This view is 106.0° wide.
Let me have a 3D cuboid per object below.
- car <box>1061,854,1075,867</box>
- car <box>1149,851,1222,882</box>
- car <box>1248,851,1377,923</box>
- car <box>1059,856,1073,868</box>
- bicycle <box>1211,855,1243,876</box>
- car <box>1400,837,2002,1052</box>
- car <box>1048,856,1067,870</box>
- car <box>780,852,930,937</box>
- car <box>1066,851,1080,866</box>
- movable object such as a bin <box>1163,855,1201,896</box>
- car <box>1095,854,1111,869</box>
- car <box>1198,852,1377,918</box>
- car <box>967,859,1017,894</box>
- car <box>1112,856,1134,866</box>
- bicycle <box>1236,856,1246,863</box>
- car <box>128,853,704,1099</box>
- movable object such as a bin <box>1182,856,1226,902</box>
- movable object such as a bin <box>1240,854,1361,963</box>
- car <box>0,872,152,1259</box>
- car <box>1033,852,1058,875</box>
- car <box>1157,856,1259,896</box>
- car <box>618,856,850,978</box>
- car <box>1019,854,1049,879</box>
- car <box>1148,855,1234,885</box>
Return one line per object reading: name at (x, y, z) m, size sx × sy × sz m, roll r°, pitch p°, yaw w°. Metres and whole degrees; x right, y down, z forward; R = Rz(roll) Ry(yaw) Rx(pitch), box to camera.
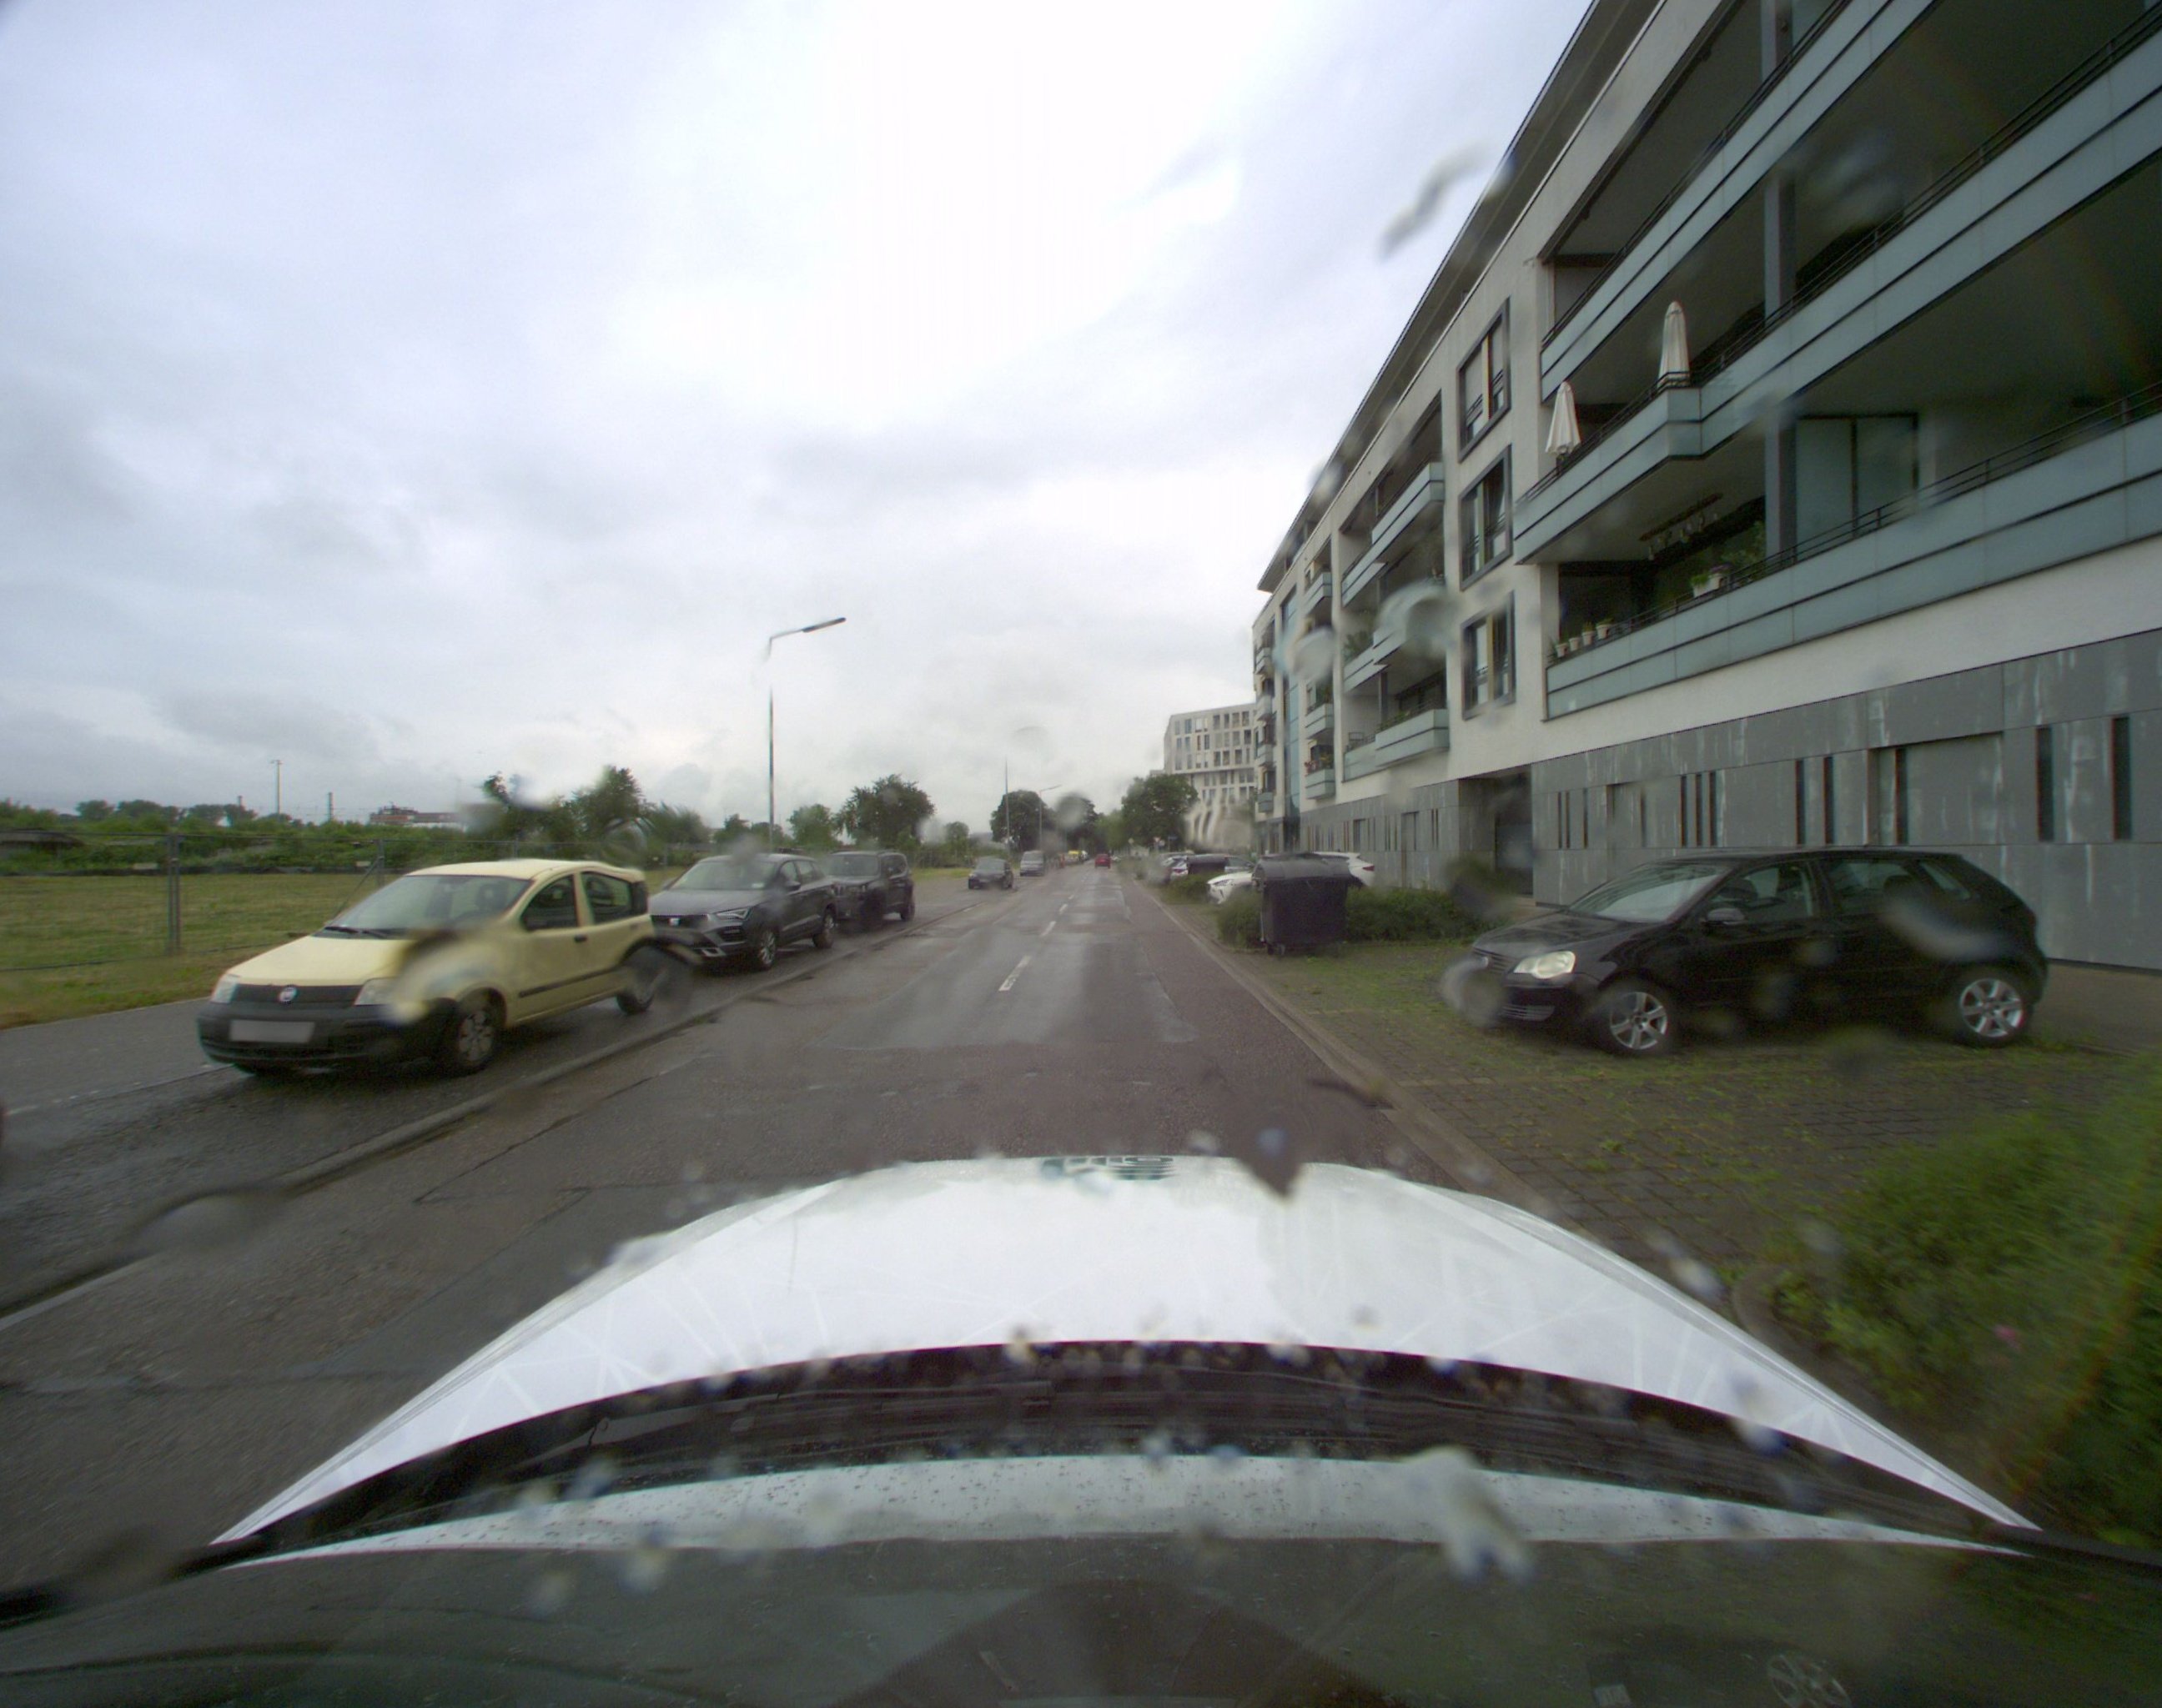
car at (-2.005, 1.112, 130.571) m, size 2.010 × 1.956 × 6.066 m, roll 1°, pitch -1°, yaw 1°
car at (6.265, 0.767, 49.163) m, size 4.076 × 1.623 × 1.966 m, roll -3°, pitch -1°, yaw 0°
car at (5.393, 0.751, 19.095) m, size 2.619 × 1.507 × 1.205 m, roll -3°, pitch 0°, yaw -5°
car at (-2.116, 1.142, 117.868) m, size 1.797 × 1.561 × 4.034 m, roll 2°, pitch 0°, yaw 2°
bicycle at (10.616, 0.837, 59.360) m, size 2.168 × 1.522 × 0.634 m, roll -2°, pitch -1°, yaw 21°
car at (5.049, 0.698, 7.087) m, size 3.830 × 1.491 × 1.763 m, roll -2°, pitch 0°, yaw 2°
car at (-2.867, 1.124, 100.931) m, size 1.932 × 1.767 × 4.334 m, roll 0°, pitch 0°, yaw 3°
car at (-4.957, 0.803, 18.639) m, size 1.745 × 1.693 × 4.886 m, roll 0°, pitch 0°, yaw 4°
car at (-1.438, 0.836, 154.532) m, size 2.182 × 2.694 × 6.086 m, roll 2°, pitch 0°, yaw 3°
movable object such as a bin at (3.906, 0.812, 31.672) m, size 1.295 × 1.526 × 1.582 m, roll -2°, pitch 0°, yaw 1°
car at (2.594, 0.875, 96.638) m, size 1.750 × 1.706 × 4.000 m, roll -1°, pitch 0°, yaw 1°
car at (5.464, 0.805, 21.994) m, size 4.331 × 1.530 × 1.893 m, roll -3°, pitch -1°, yaw 1°
car at (-4.287, 1.065, 39.850) m, size 1.840 × 1.561 × 4.153 m, roll 2°, pitch 0°, yaw 1°
car at (8.929, 1.482, 172.752) m, size 4.527 × 1.685 × 1.885 m, roll -5°, pitch -1°, yaw -2°
bicycle at (25.419, 0.917, 129.343) m, size 0.716 × 1.033 × 2.086 m, roll -1°, pitch -1°, yaw 41°
car at (-5.257, 0.810, 7.361) m, size 1.720 × 1.575 × 4.210 m, roll 0°, pitch -1°, yaw 0°
movable object such as a bin at (4.307, 0.855, 28.657) m, size 1.295 × 1.526 × 1.582 m, roll -2°, pitch 0°, yaw 1°
movable object such as a bin at (3.312, 0.796, 12.436) m, size 1.490 × 1.493 × 1.156 m, roll -3°, pitch -1°, yaw 1°
car at (-5.283, 0.809, 1.406) m, size 1.830 × 1.528 × 4.672 m, roll 1°, pitch -1°, yaw 2°
car at (-3.362, 0.900, 78.055) m, size 1.952 × 2.058 × 5.276 m, roll 1°, pitch 0°, yaw 2°
car at (5.300, 0.890, 34.424) m, size 4.045 × 1.497 × 2.059 m, roll -2°, pitch 0°, yaw 1°
car at (-5.121, 0.827, 12.715) m, size 1.746 × 1.590 × 4.134 m, roll 0°, pitch 0°, yaw 1°
car at (-3.655, 0.965, 64.406) m, size 1.948 × 1.902 × 4.996 m, roll 0°, pitch 0°, yaw 2°
car at (5.909, 0.861, 44.268) m, size 4.394 × 1.405 × 1.911 m, roll -3°, pitch -1°, yaw 0°
